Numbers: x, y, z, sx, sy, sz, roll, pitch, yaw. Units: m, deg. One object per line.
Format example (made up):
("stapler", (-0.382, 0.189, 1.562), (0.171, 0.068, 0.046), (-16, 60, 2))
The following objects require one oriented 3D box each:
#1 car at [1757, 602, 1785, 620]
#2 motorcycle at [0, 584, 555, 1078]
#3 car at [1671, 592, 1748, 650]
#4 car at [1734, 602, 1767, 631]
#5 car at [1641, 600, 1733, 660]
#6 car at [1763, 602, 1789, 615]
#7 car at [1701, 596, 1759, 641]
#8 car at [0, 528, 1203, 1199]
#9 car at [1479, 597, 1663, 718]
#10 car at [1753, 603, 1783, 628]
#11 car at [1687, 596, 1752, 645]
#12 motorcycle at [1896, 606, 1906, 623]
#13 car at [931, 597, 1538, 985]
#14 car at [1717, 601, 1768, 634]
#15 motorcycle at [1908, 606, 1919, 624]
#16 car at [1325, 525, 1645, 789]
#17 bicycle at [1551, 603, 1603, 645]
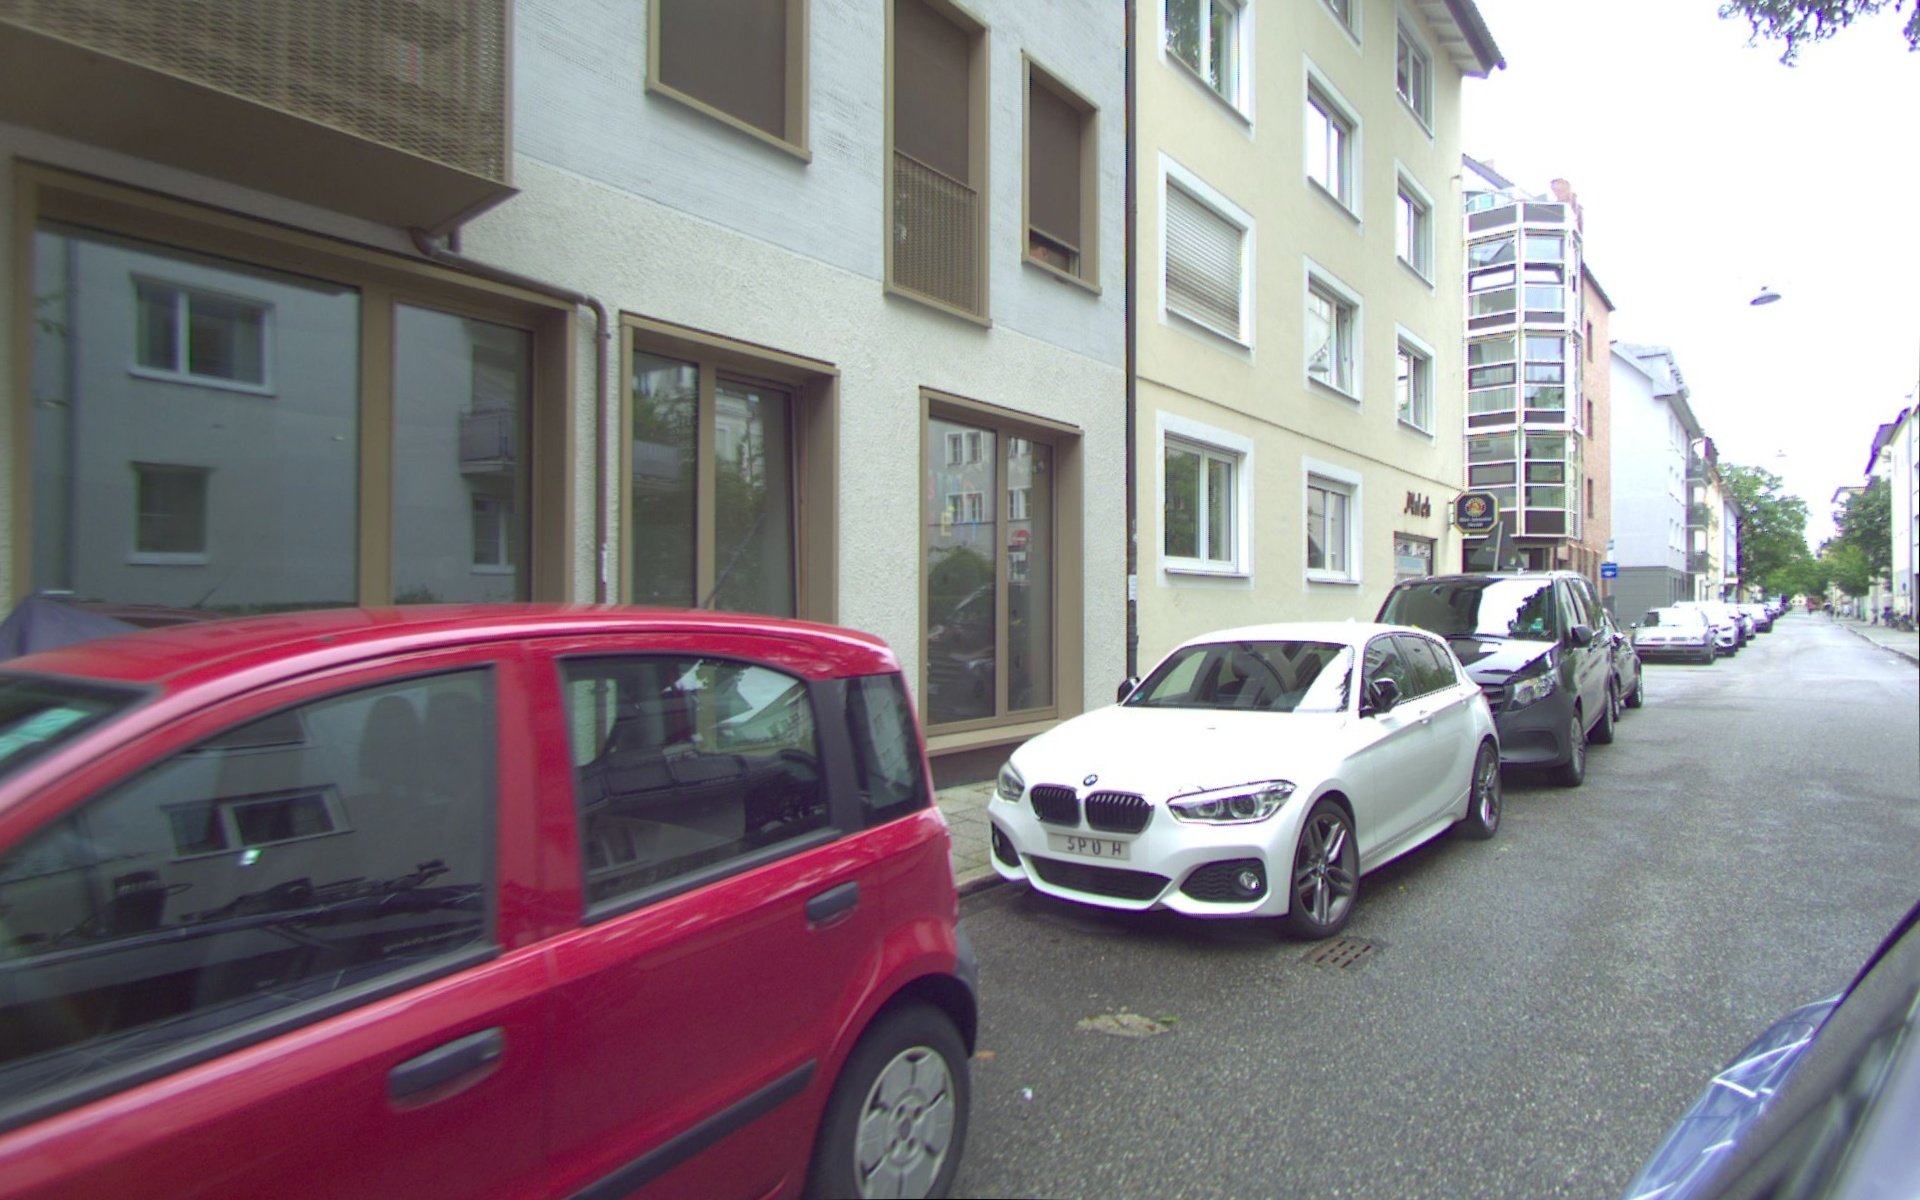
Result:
("car", (60.683, 0.788, 75.674), (1.519, 1.282, 3.163), (-2, -1, 40))
("motorcycle", (-2.649, 0.683, 3.823), (0.804, 1.441, 1.903), (3, 2, 41))
("car", (22.803, 0.623, 30.727), (1.717, 1.636, 4.392), (-2, -1, 38))
("car", (38.635, 0.801, 49.447), (1.150, 1.393, 2.646), (-2, -2, 40))
("car", (19.171, 0.739, 26.613), (1.717, 1.453, 4.298), (-2, -1, 38))
("car", (84.718, 0.850, 105.095), (1.991, 1.282, 3.941), (-2, -1, 40))
("car", (28.977, 0.669, 38.030), (1.612, 1.600, 3.995), (-2, -1, 38))
("car", (-1.300, 0.726, 2.083), (1.770, 1.544, 4.004), (-3, -2, 42))
("car", (8.693, 0.736, 14.289), (1.632, 1.490, 3.486), (-3, -2, 40))
("car", (44.703, 0.828, 55.997), (1.186, 1.337, 2.739), (-2, -1, 40))
("car", (25.602, 0.673, 34.077), (1.612, 1.578, 3.754), (-2, -1, 38))
("motorcycle", (57.215, 0.868, 61.513), (0.323, 0.986, 1.932), (-2, -2, 40))
("car", (1.954, 0.760, 6.096), (1.766, 1.480, 4.314), (-3, -2, 42))
("car", (35.211, 0.776, 45.500), (1.613, 1.394, 3.761), (-2, -1, 40))
("motorcycle", (51.133, 0.797, 54.273), (0.323, 0.986, 1.932), (-2, -2, 40))
("car", (5.498, 0.471, 10.216), (1.985, 2.002, 4.818), (-3, -2, 38))
("bicycle", (18.819, 0.716, 30.863), (1.746, 1.232, 0.743), (0, 0, -36))
